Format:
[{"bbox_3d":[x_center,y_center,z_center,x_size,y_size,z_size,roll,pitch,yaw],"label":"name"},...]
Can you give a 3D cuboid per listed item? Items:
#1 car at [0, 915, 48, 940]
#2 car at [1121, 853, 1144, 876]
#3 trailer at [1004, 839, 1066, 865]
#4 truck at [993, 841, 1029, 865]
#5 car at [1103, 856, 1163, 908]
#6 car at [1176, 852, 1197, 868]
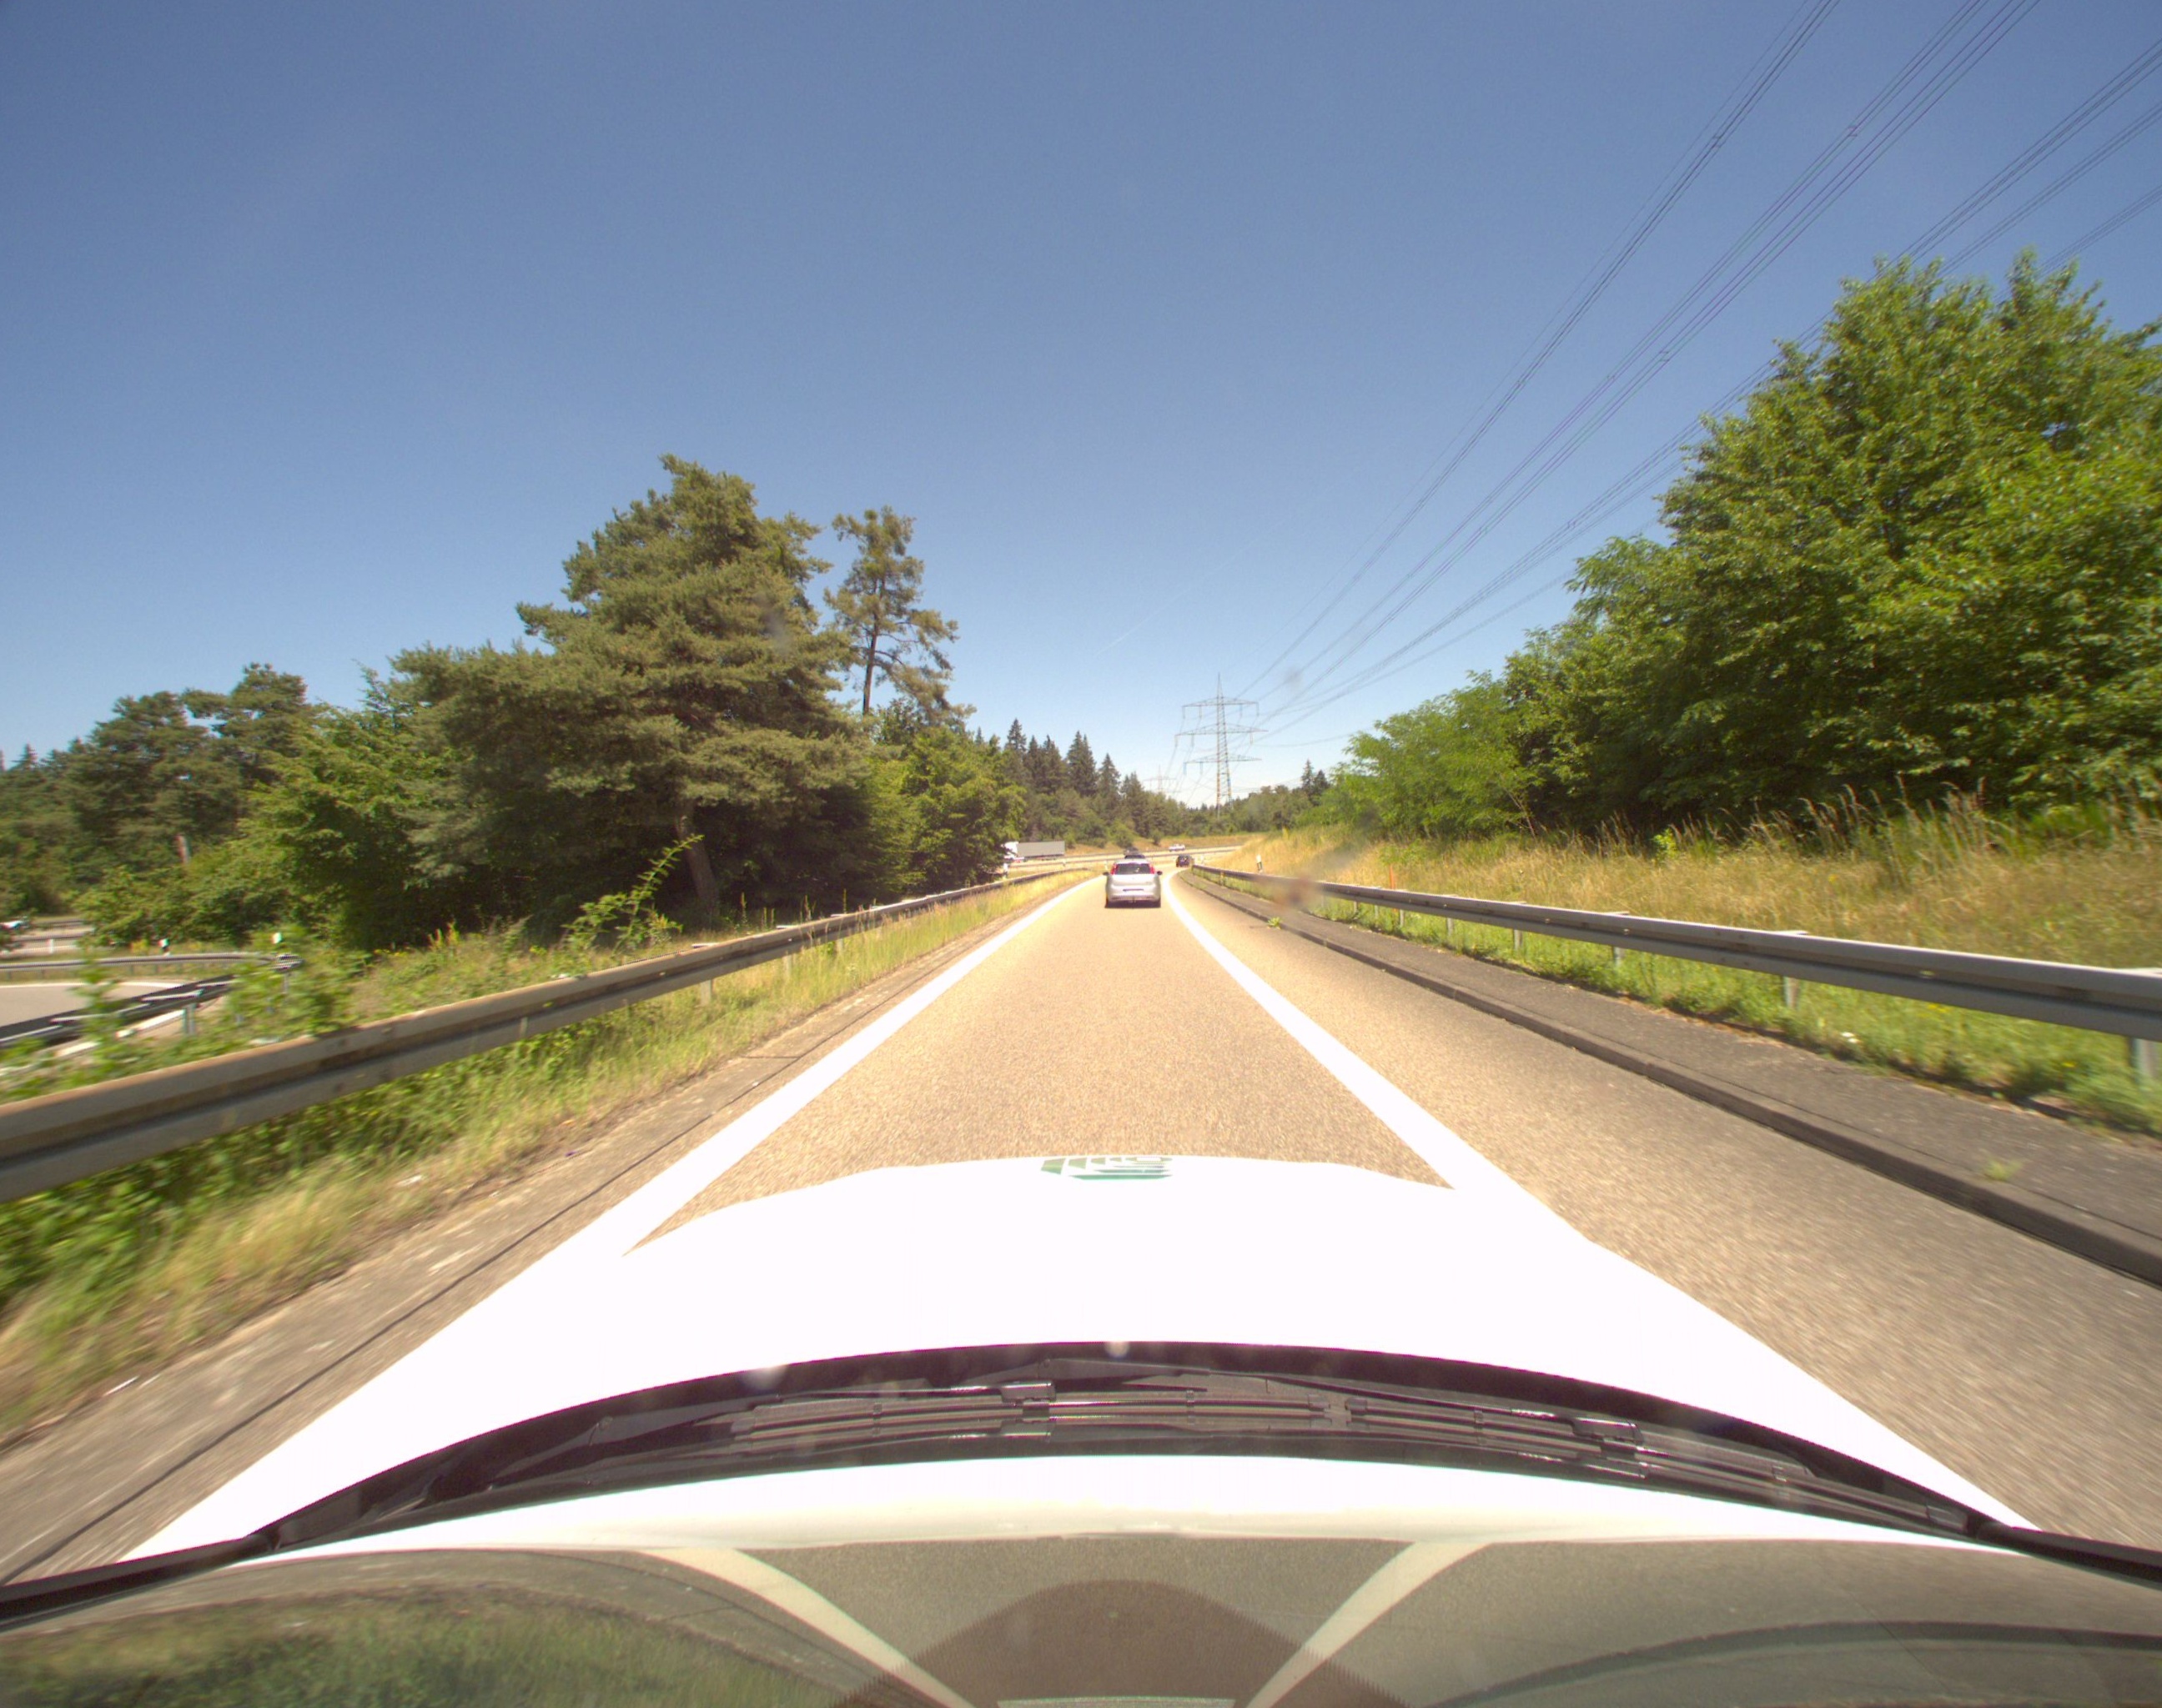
[{"bbox_3d":[-88.941,6.147,67.483,1.974,1.779,4.026,-4,0,40],"label":"car"},{"bbox_3d":[4.102,0.814,64.336,1.698,1.676,3.403,-1,0,5],"label":"car"},{"bbox_3d":[-9.103,-0.477,163.288,2.897,4.387,14.386,-4,0,42],"label":"trailer"},{"bbox_3d":[-13.554,-0.224,158.383,2.911,4.392,6.310,-4,0,43],"label":"truck"},{"bbox_3d":[1.560,0.831,25.360,1.700,1.482,3.398,-1,0,1],"label":"car"},{"bbox_3d":[12.849,0.716,99.072,1.867,1.684,4.018,-4,0,16],"label":"car"}]
